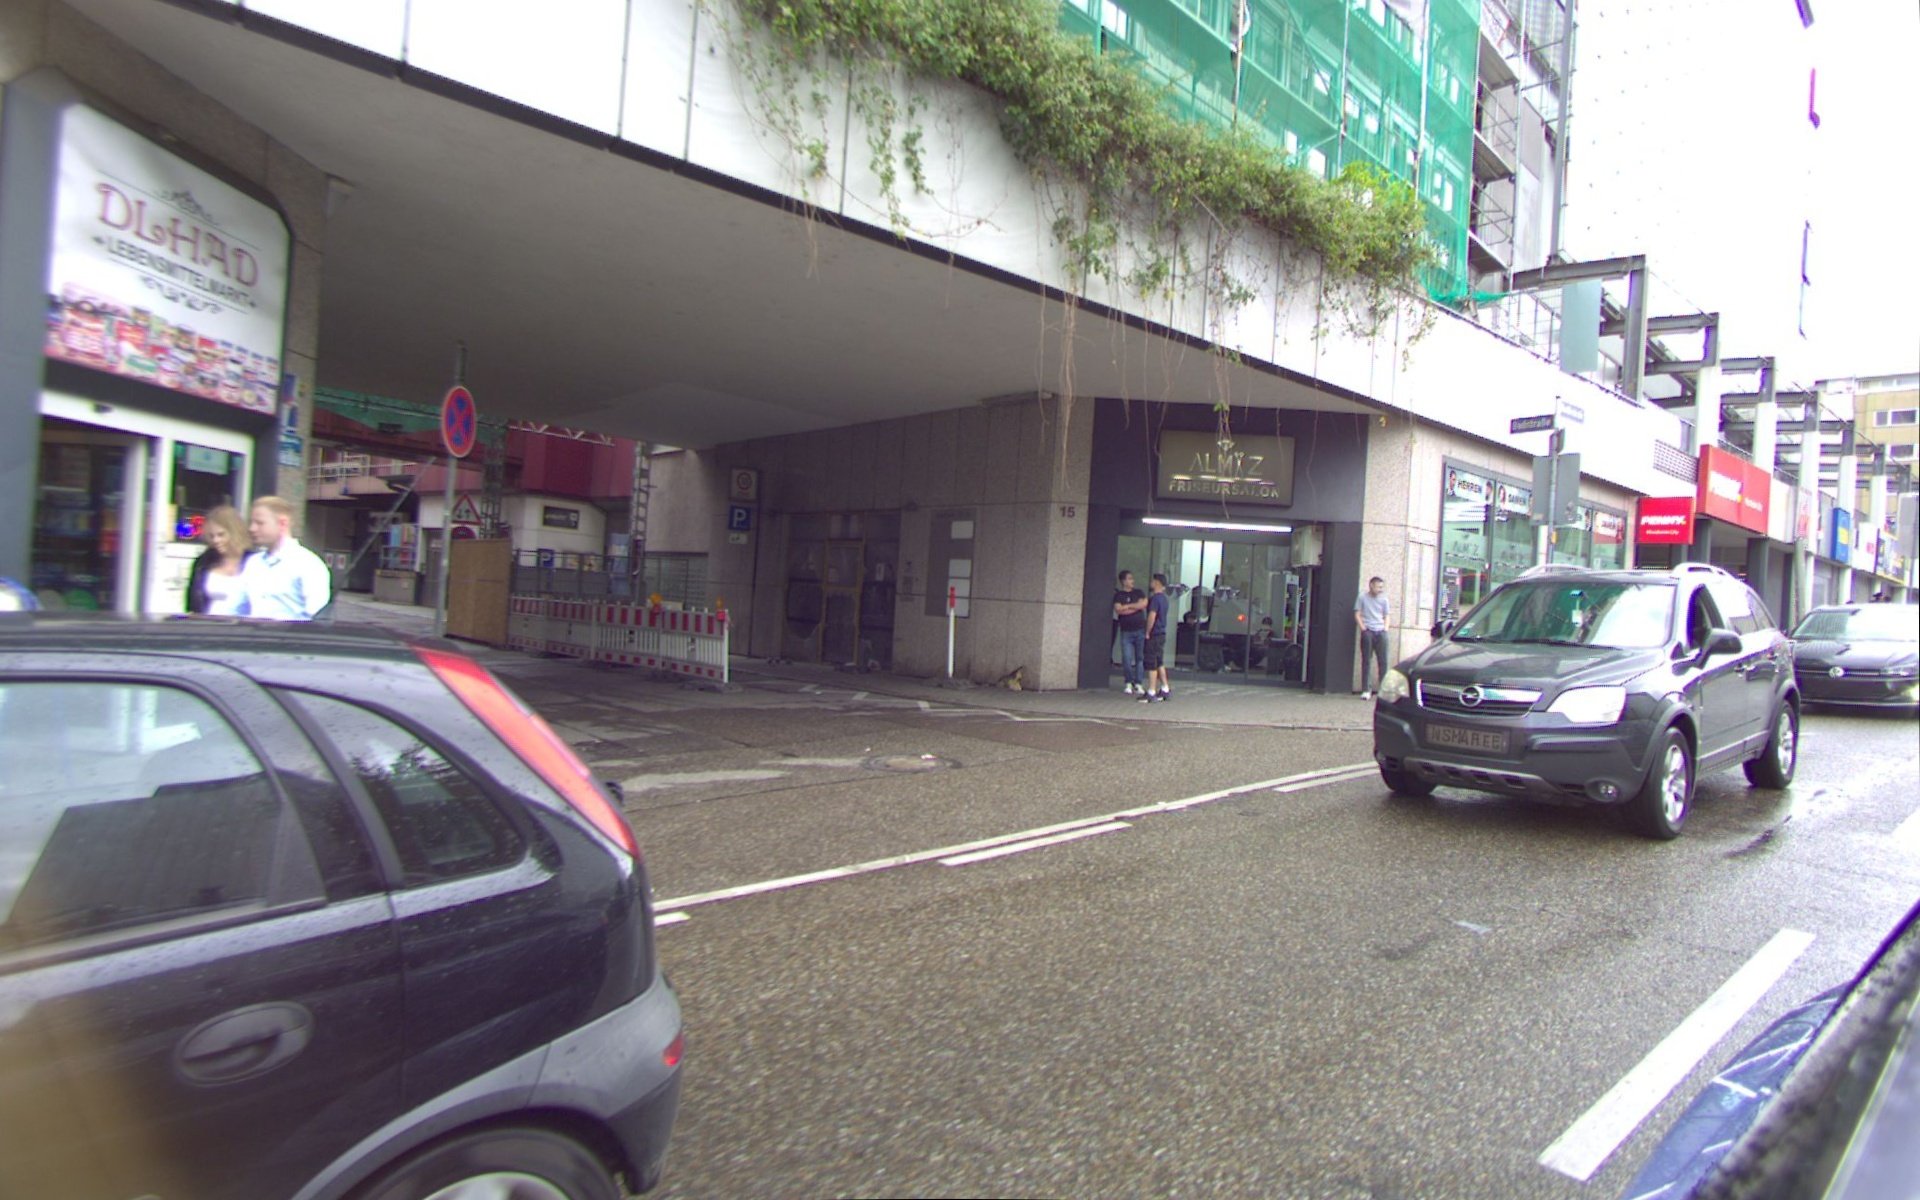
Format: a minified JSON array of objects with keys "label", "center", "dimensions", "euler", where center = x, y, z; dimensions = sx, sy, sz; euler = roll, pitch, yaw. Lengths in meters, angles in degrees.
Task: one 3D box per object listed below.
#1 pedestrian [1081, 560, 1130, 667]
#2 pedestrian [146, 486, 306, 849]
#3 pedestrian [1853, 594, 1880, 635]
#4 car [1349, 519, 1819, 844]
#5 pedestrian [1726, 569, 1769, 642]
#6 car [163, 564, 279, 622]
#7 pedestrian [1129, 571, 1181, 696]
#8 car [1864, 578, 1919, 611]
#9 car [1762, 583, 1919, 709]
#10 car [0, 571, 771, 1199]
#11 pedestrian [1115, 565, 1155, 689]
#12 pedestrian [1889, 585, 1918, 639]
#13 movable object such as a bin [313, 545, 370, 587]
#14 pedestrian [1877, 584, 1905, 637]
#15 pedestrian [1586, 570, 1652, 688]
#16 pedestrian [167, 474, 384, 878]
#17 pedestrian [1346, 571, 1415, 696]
[{"label":"pedestrian","center":[2.571,0.223,17.927],"dimensions":[0.730,1.838,0.773],"euler":[2,2,3]},{"label":"pedestrian","center":[-4.307,0.357,5.934],"dimensions":[0.736,1.959,0.630],"euler":[0,0,44]},{"label":"pedestrian","center":[27.166,0.428,30.326],"dimensions":[0.570,1.181,0.509],"euler":[-1,3,-42]},{"label":"car","center":[4.806,0.471,7.561],"dimensions":[4.088,1.788,1.764],"euler":[1,-1,-39]},{"label":"pedestrian","center":[18.691,0.116,24.032],"dimensions":[0.499,1.699,0.581],"euler":[0,2,-20]},{"label":"car","center":[-17.878,-0.184,24.413],"dimensions":[1.788,1.277,4.053],"euler":[-1,1,-43]},{"label":"pedestrian","center":[2.609,0.433,13.519],"dimensions":[0.630,1.615,0.574],"euler":[0,0,17]},{"label":"car","center":[61.859,-0.339,65.515],"dimensions":[4.547,2.038,1.980],"euler":[3,2,29]},{"label":"car","center":[12.787,0.584,14.057],"dimensions":[4.088,1.523,1.758],"euler":[1,-1,-39]},{"label":"car","center":[-2.252,0.671,1.461],"dimensions":[3.558,1.447,1.610],"euler":[1,-1,-40]},{"label":"pedestrian","center":[2.468,0.370,14.302],"dimensions":[0.474,1.729,0.467],"euler":[0,0,0]},{"label":"pedestrian","center":[27.136,0.335,29.098],"dimensions":[0.570,1.519,0.509],"euler":[-1,3,-42]},{"label":"movable object such as a bin","center":[-32.664,-1.758,53.444],"dimensions":[3.822,2.117,1.462],"euler":[0,1,40]},{"label":"pedestrian","center":[27.473,0.305,29.851],"dimensions":[0.570,1.519,0.509],"euler":[-1,3,-42]},{"label":"pedestrian","center":[9.544,0.396,14.662],"dimensions":[0.674,1.647,0.571],"euler":[3,3,43]},{"label":"pedestrian","center":[-3.584,0.364,5.328],"dimensions":[0.729,1.959,0.636],"euler":[0,0,20]},{"label":"pedestrian","center":[5.785,0.432,13.924],"dimensions":[0.722,1.663,0.637],"euler":[-1,0,-44]}]
